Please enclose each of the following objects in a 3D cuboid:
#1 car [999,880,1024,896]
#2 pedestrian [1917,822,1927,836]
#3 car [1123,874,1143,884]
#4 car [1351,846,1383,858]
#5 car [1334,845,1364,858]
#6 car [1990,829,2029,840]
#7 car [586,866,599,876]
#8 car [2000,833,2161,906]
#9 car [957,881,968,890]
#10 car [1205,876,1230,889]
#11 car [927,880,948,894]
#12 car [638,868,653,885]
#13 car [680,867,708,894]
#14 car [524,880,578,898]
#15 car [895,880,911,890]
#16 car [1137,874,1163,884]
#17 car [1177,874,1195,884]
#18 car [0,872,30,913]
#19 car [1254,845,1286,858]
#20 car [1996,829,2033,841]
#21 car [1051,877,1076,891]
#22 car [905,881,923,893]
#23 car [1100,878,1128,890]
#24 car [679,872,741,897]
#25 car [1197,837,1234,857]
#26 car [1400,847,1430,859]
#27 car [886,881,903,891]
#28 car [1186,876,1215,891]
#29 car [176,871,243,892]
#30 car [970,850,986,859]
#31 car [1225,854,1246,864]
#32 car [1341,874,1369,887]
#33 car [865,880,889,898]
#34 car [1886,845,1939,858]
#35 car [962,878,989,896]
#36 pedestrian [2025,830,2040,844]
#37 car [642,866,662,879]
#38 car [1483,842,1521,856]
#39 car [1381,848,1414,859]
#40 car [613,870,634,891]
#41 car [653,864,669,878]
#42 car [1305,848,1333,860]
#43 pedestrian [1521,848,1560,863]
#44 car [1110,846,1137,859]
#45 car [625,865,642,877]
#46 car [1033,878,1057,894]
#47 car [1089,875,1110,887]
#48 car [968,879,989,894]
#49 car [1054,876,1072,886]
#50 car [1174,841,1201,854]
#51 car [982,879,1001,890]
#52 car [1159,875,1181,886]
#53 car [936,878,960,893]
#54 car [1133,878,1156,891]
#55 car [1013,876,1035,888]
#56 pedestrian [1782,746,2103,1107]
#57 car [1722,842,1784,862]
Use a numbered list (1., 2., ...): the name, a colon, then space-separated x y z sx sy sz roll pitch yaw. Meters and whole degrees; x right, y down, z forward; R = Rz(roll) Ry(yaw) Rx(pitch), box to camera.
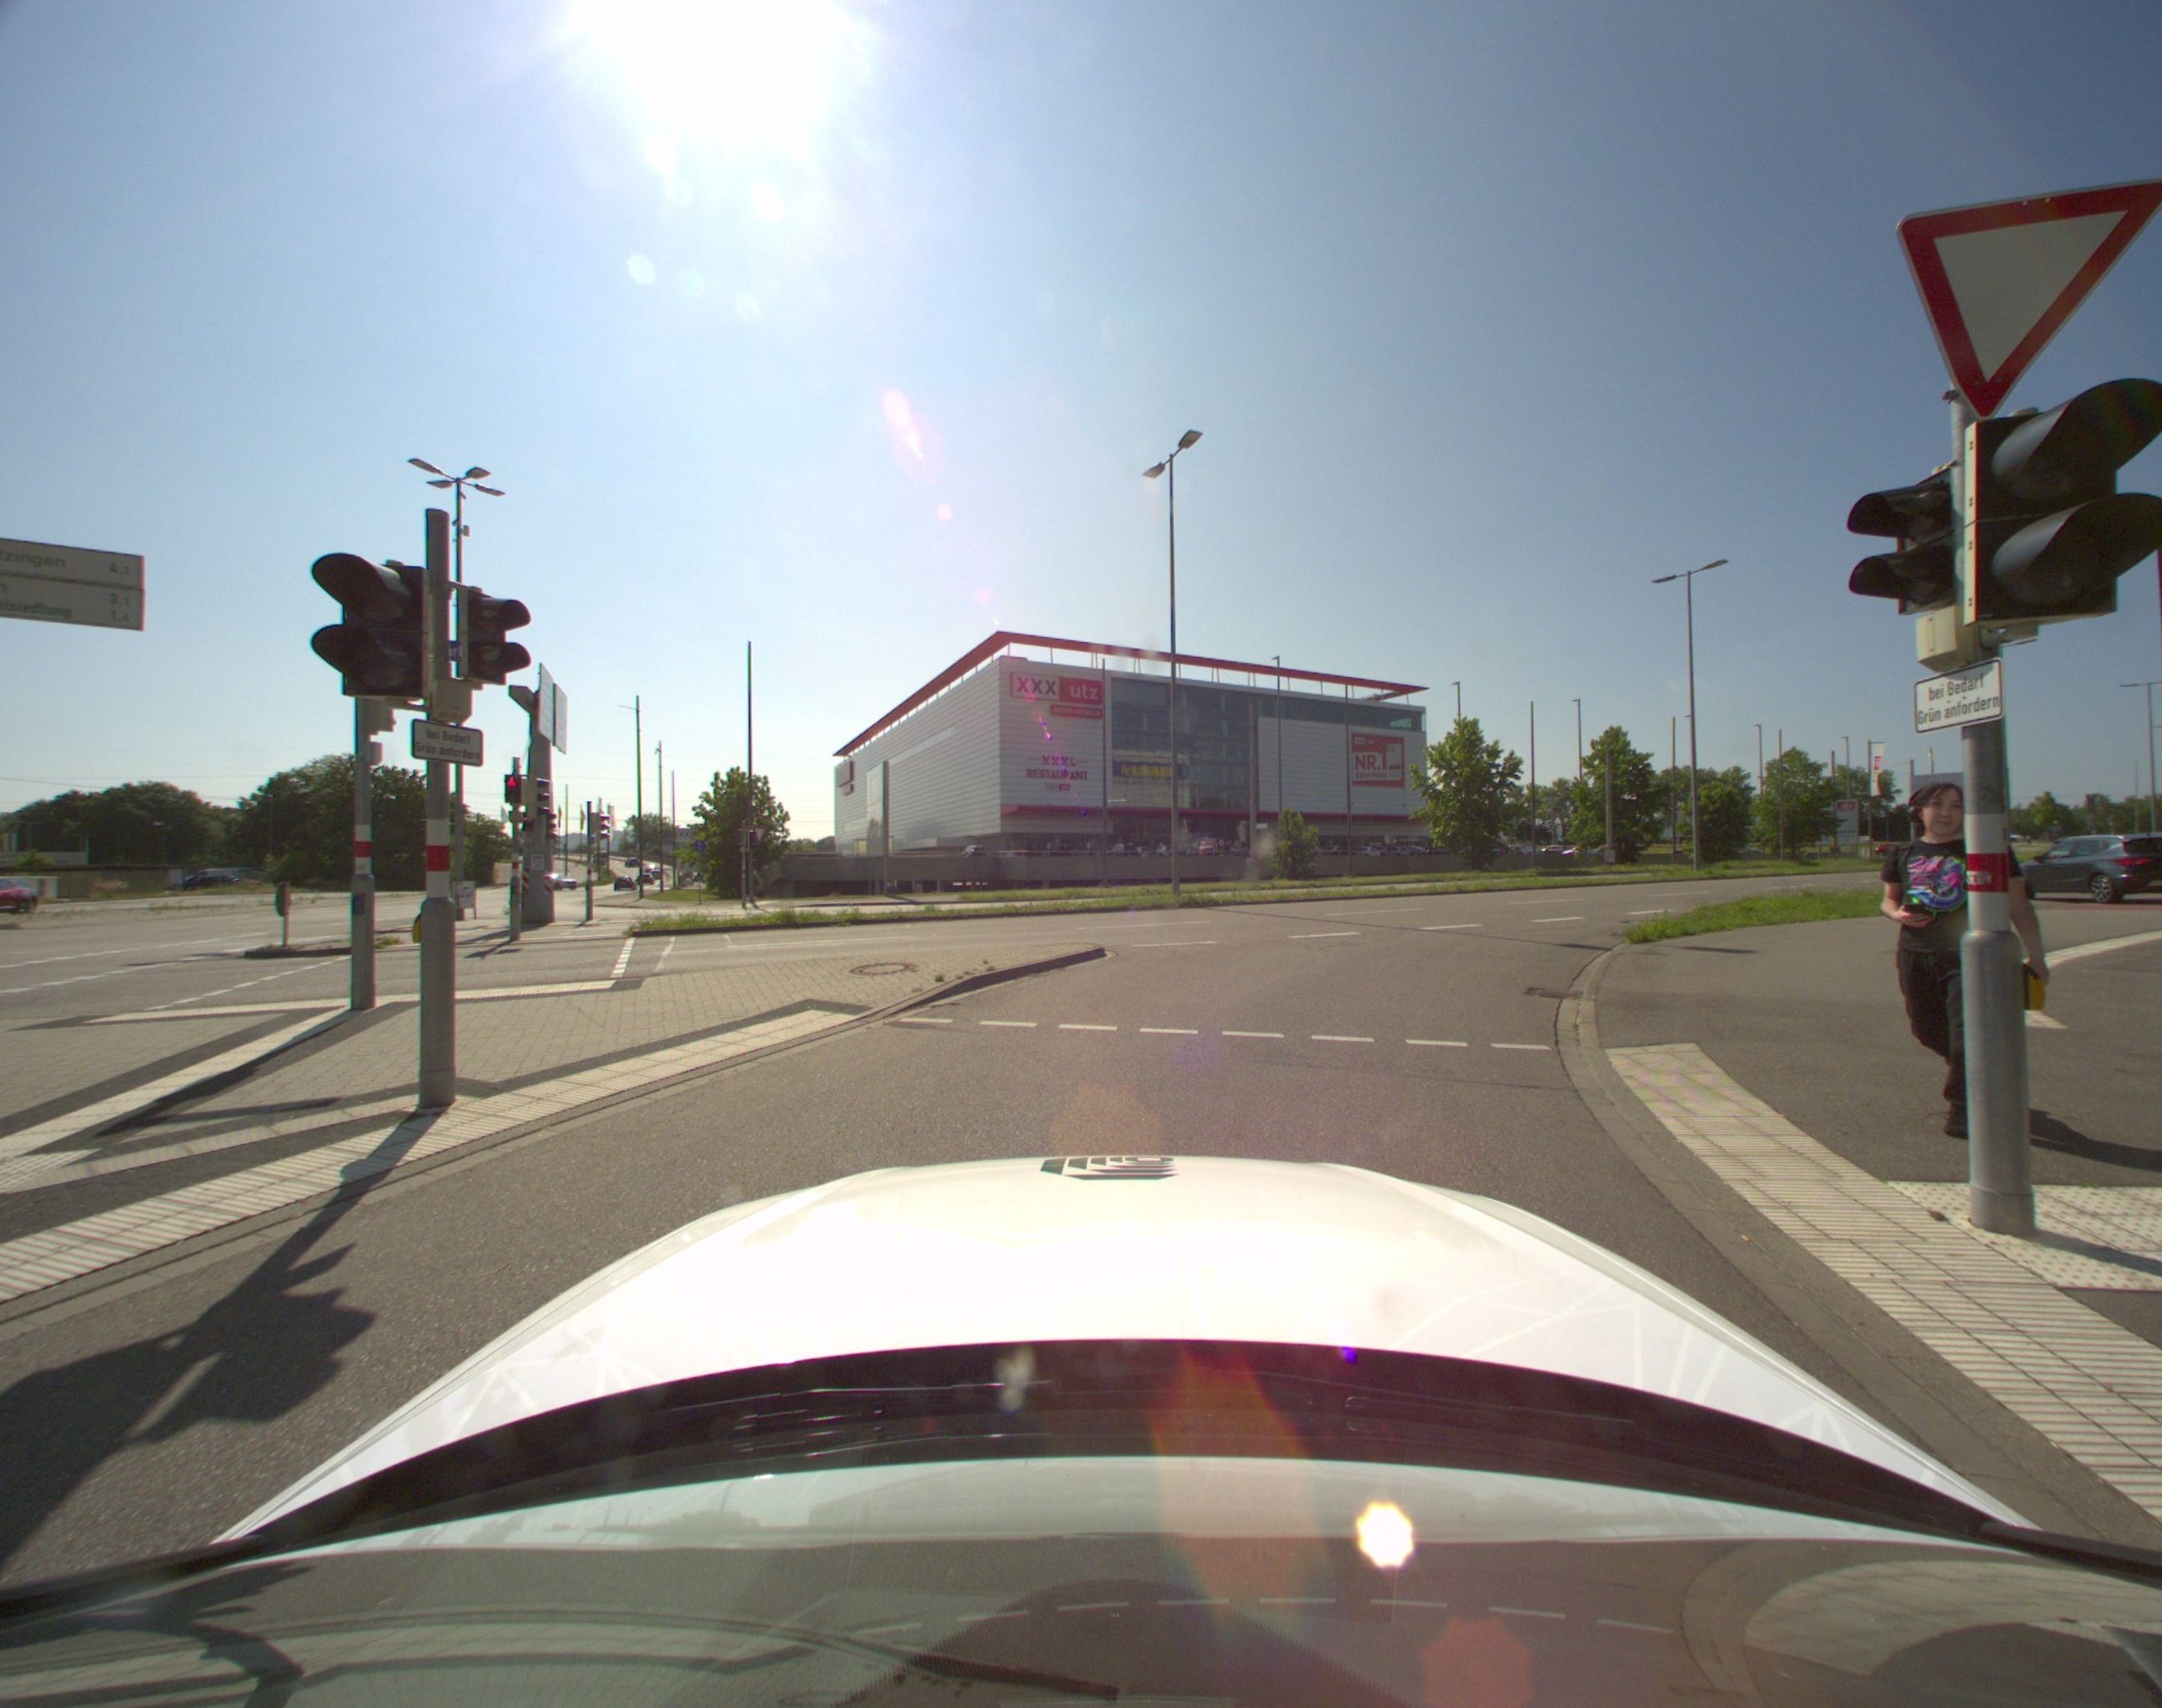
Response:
1. car: -4.365 2.100 50.928 0.869 0.975 1.830 0 -1 -29
2. pedestrian: 116.174 -3.462 112.496 0.919 1.972 0.713 0 -1 -23
3. car: 5.153 2.500 80.898 1.074 0.975 1.925 0 -1 -29
4. car: 32.787 -0.266 93.338 1.708 1.330 3.069 0 -1 -28
5. car: 30.410 -0.278 92.355 1.519 1.330 3.069 0 -1 -28
6. car: 129.937 -2.733 113.953 1.413 1.500 3.366 0 -1 -28
7. car: -92.875 3.224 154.901 2.006 2.014 3.962 0 -1 -29
8. car: 23.535 0.303 18.722 1.657 1.523 3.392 -1 1 17
9. car: -11.973 3.180 82.345 0.758 0.928 1.277 0 -1 -29
10. car: 11.329 2.355 67.829 1.074 0.975 1.925 0 -1 -29
11. car: -11.497 2.651 65.164 1.074 1.039 1.925 -1 -1 -29
12. car: -54.211 2.828 101.421 1.588 2.014 3.965 -1 -1 -27
13. car: -33.820 2.253 71.285 2.002 2.296 4.001 0 -1 -23
14. car: -51.993 3.417 79.964 3.996 1.622 2.010 -1 -1 -17
15. car: -18.117 3.160 82.805 1.074 0.975 1.925 0 -1 -29
16. car: 4.247 1.540 49.971 0.861 0.620 1.549 0 -1 -29
17. car: 10.998 2.593 85.204 0.924 0.975 1.925 0 -1 -29
18. car: -40.638 1.425 29.565 1.535 1.527 4.081 -1 -1 -29
19. car: 20.024 -0.212 86.305 1.519 1.330 3.195 0 -1 -28
20. car: 133.065 -2.729 116.104 1.414 1.500 3.321 0 -1 -31
21. car: -1.320 2.239 61.298 1.074 0.975 1.925 0 -1 -29
22. car: -14.798 2.886 71.996 0.934 0.975 1.923 1 -1 -33
23. car: 2.187 2.003 54.284 0.909 0.733 2.068 0 -1 -29
24. car: -26.957 2.178 59.212 4.007 1.734 1.983 0 -1 -26
25. car: 11.509 -0.601 69.706 1.779 1.556 2.750 -1 -1 -28
26. car: 39.544 -0.115 96.415 1.519 1.330 3.069 0 -1 -28
27. car: -18.196 3.117 79.477 1.074 0.975 1.925 0 -1 -29
28. car: 8.405 2.087 57.523 1.074 0.975 1.925 0 -1 -29
29. car: -100.785 3.124 94.238 1.974 2.334 5.080 -1 -1 38
30. car: -11.063 0.035 87.198 1.074 0.975 1.925 0 -1 -29
31. car: 15.854 0.518 83.560 1.074 0.975 1.925 -1 -1 -29
32. car: 21.528 2.051 63.988 1.074 0.975 1.925 0 -1 -29
33. car: -11.800 2.012 47.070 0.892 0.975 1.925 0 -1 -29
34. car: 101.709 -0.277 99.656 1.832 1.605 4.155 0 -1 -31
35. car: -6.483 2.017 49.938 1.073 1.008 1.927 -1 -1 -25
36. pedestrian: 120.751 -2.168 103.323 0.904 1.707 0.838 -2 -1 -15
37. car: -70.615 3.015 134.089 2.677 2.014 6.434 -1 -1 -27
38. car: 33.124 -0.349 64.158 1.074 1.059 2.497 0 -1 -29
39. car: 36.998 -0.066 95.358 1.484 1.199 3.478 0 -1 -28
40. car: -45.777 2.625 81.522 1.640 2.014 3.965 -1 -1 -27
41. car: -62.003 2.482 120.178 2.004 2.014 3.965 -1 -1 -27
42. car: 28.216 0.028 96.631 1.304 1.330 3.116 0 -1 -28
43. pedestrian: 60.262 0.188 106.786 3.969 2.014 2.002 0 -1 3
44. car: 4.357 -0.129 84.157 1.519 1.330 2.993 0 -1 -28
45. car: -82.341 3.119 149.885 2.010 2.014 3.953 -1 -1 -40
46. car: -2.082 1.826 46.681 0.794 0.882 1.491 0 -1 -29
47. car: 1.632 2.365 71.746 1.074 0.975 1.925 0 -1 -29
48. car: -7.134 2.250 56.668 0.889 0.975 1.926 0 -1 -26
49. car: -1.715 2.604 78.713 0.963 0.975 1.925 0 -1 -29
50. car: 11.906 -0.702 91.280 1.519 1.330 3.069 0 -1 -28
51. car: -8.282 2.839 75.329 1.074 0.975 1.925 0 -1 -29
52. car: 8.160 2.413 74.982 1.074 0.975 1.925 0 -1 -29
53. car: -9.092 2.161 55.646 1.074 0.975 1.925 -1 -1 -28
54. car: 5.010 2.391 64.755 0.913 0.975 1.925 0 -1 -29
55. car: -4.786 2.370 68.445 1.074 0.975 1.925 0 -1 -29
56. pedestrian: 4.622 0.359 4.435 0.954 1.780 0.706 -1 -1 -3
57. car: 68.173 -0.177 82.667 1.950 1.843 4.387 0 -1 -27
